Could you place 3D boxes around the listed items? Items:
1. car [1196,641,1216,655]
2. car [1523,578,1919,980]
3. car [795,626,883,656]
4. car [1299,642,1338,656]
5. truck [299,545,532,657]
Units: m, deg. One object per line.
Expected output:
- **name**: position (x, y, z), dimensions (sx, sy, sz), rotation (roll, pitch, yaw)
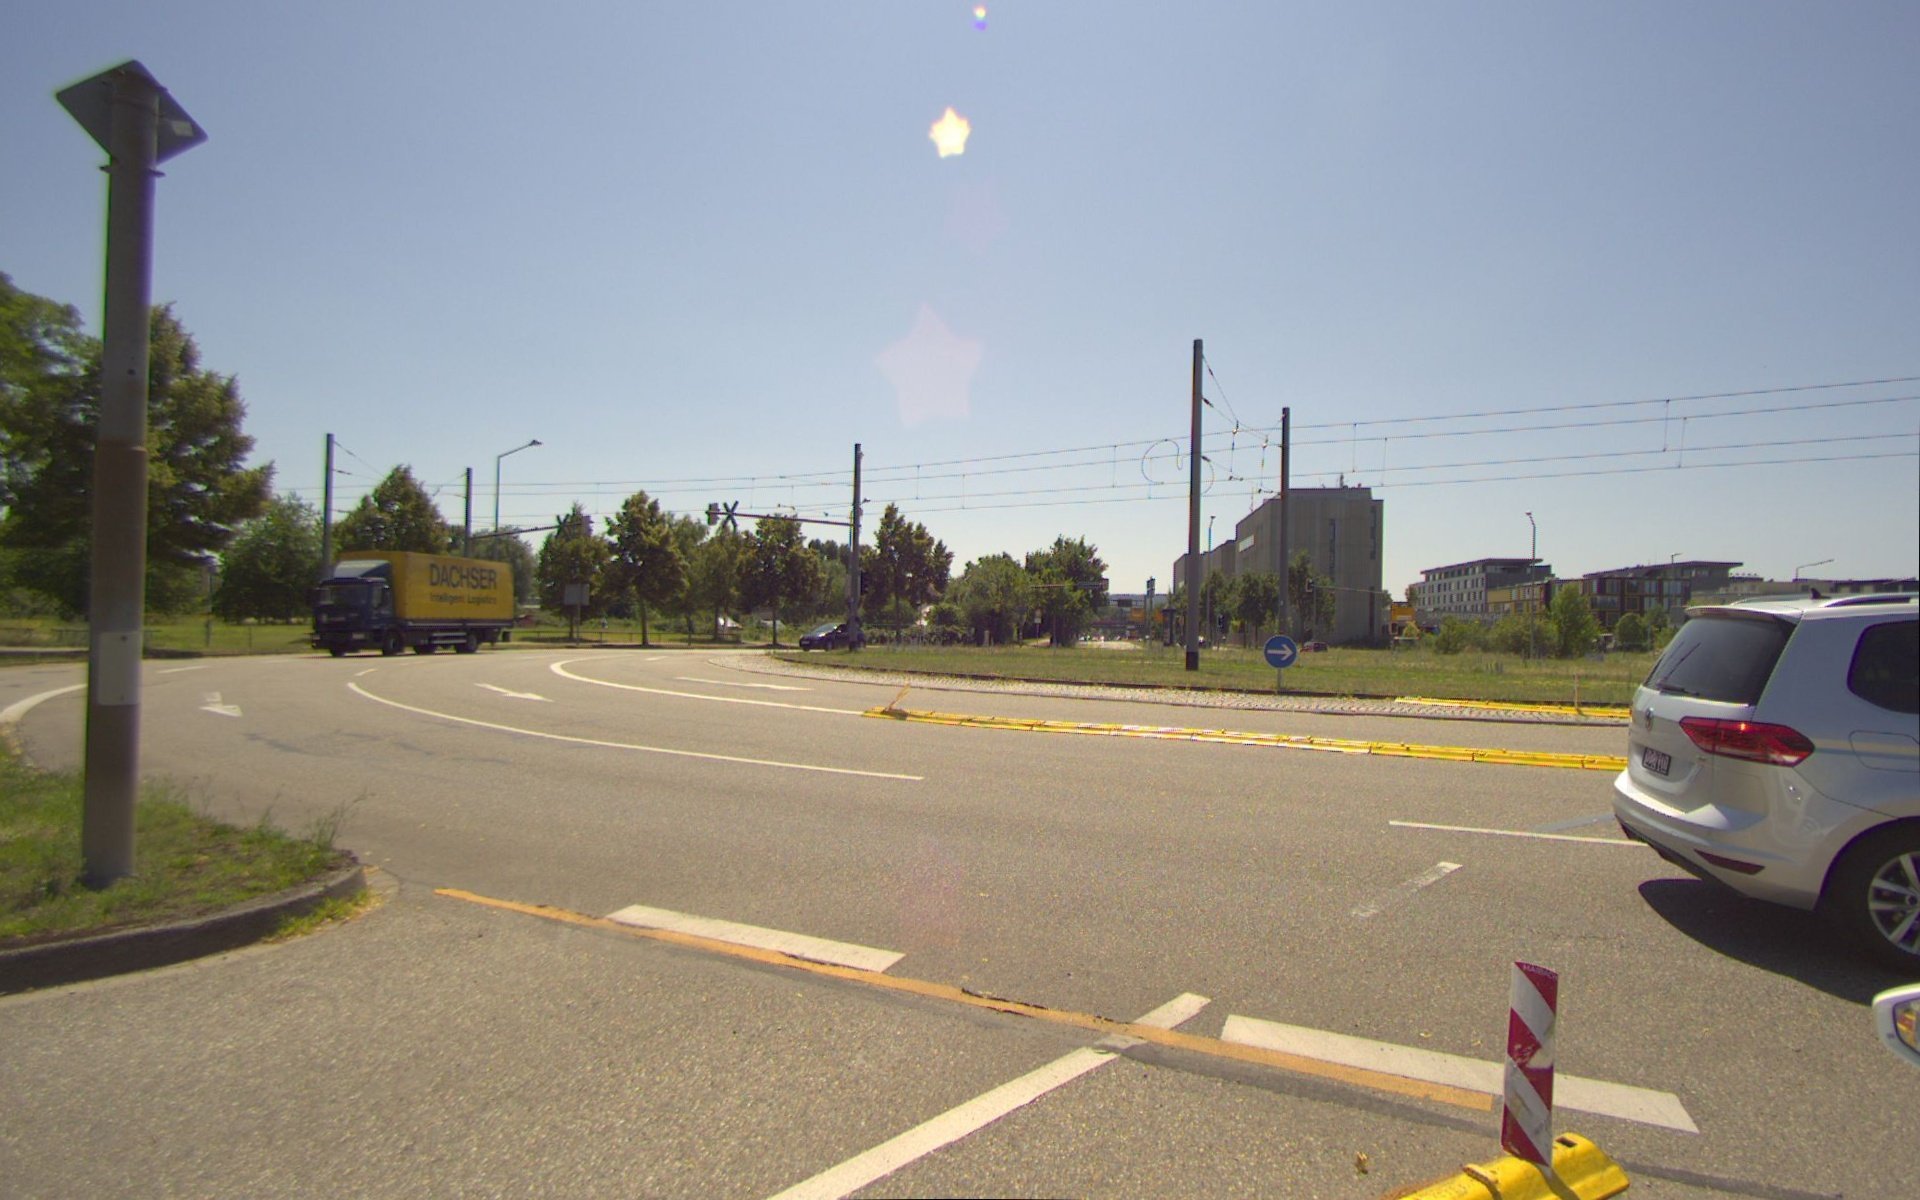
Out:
- **car**: position (28.357, 5.536, 115.669), dimensions (1.724, 1.427, 3.403), rotation (1, -1, 6)
- **car**: position (5.368, 0.770, 4.676), dimensions (4.513, 1.671, 1.806), rotation (1, 0, 19)
- **car**: position (-6.090, 2.069, 50.803), dimensions (3.962, 1.437, 1.959), rotation (2, -1, -36)
- **car**: position (30.897, 4.239, 86.687), dimensions (1.472, 1.104, 3.511), rotation (2, -1, -13)
- **truck**: position (-20.365, 0.175, 38.580), dimensions (2.652, 3.707, 9.623), rotation (1, -2, 7)
